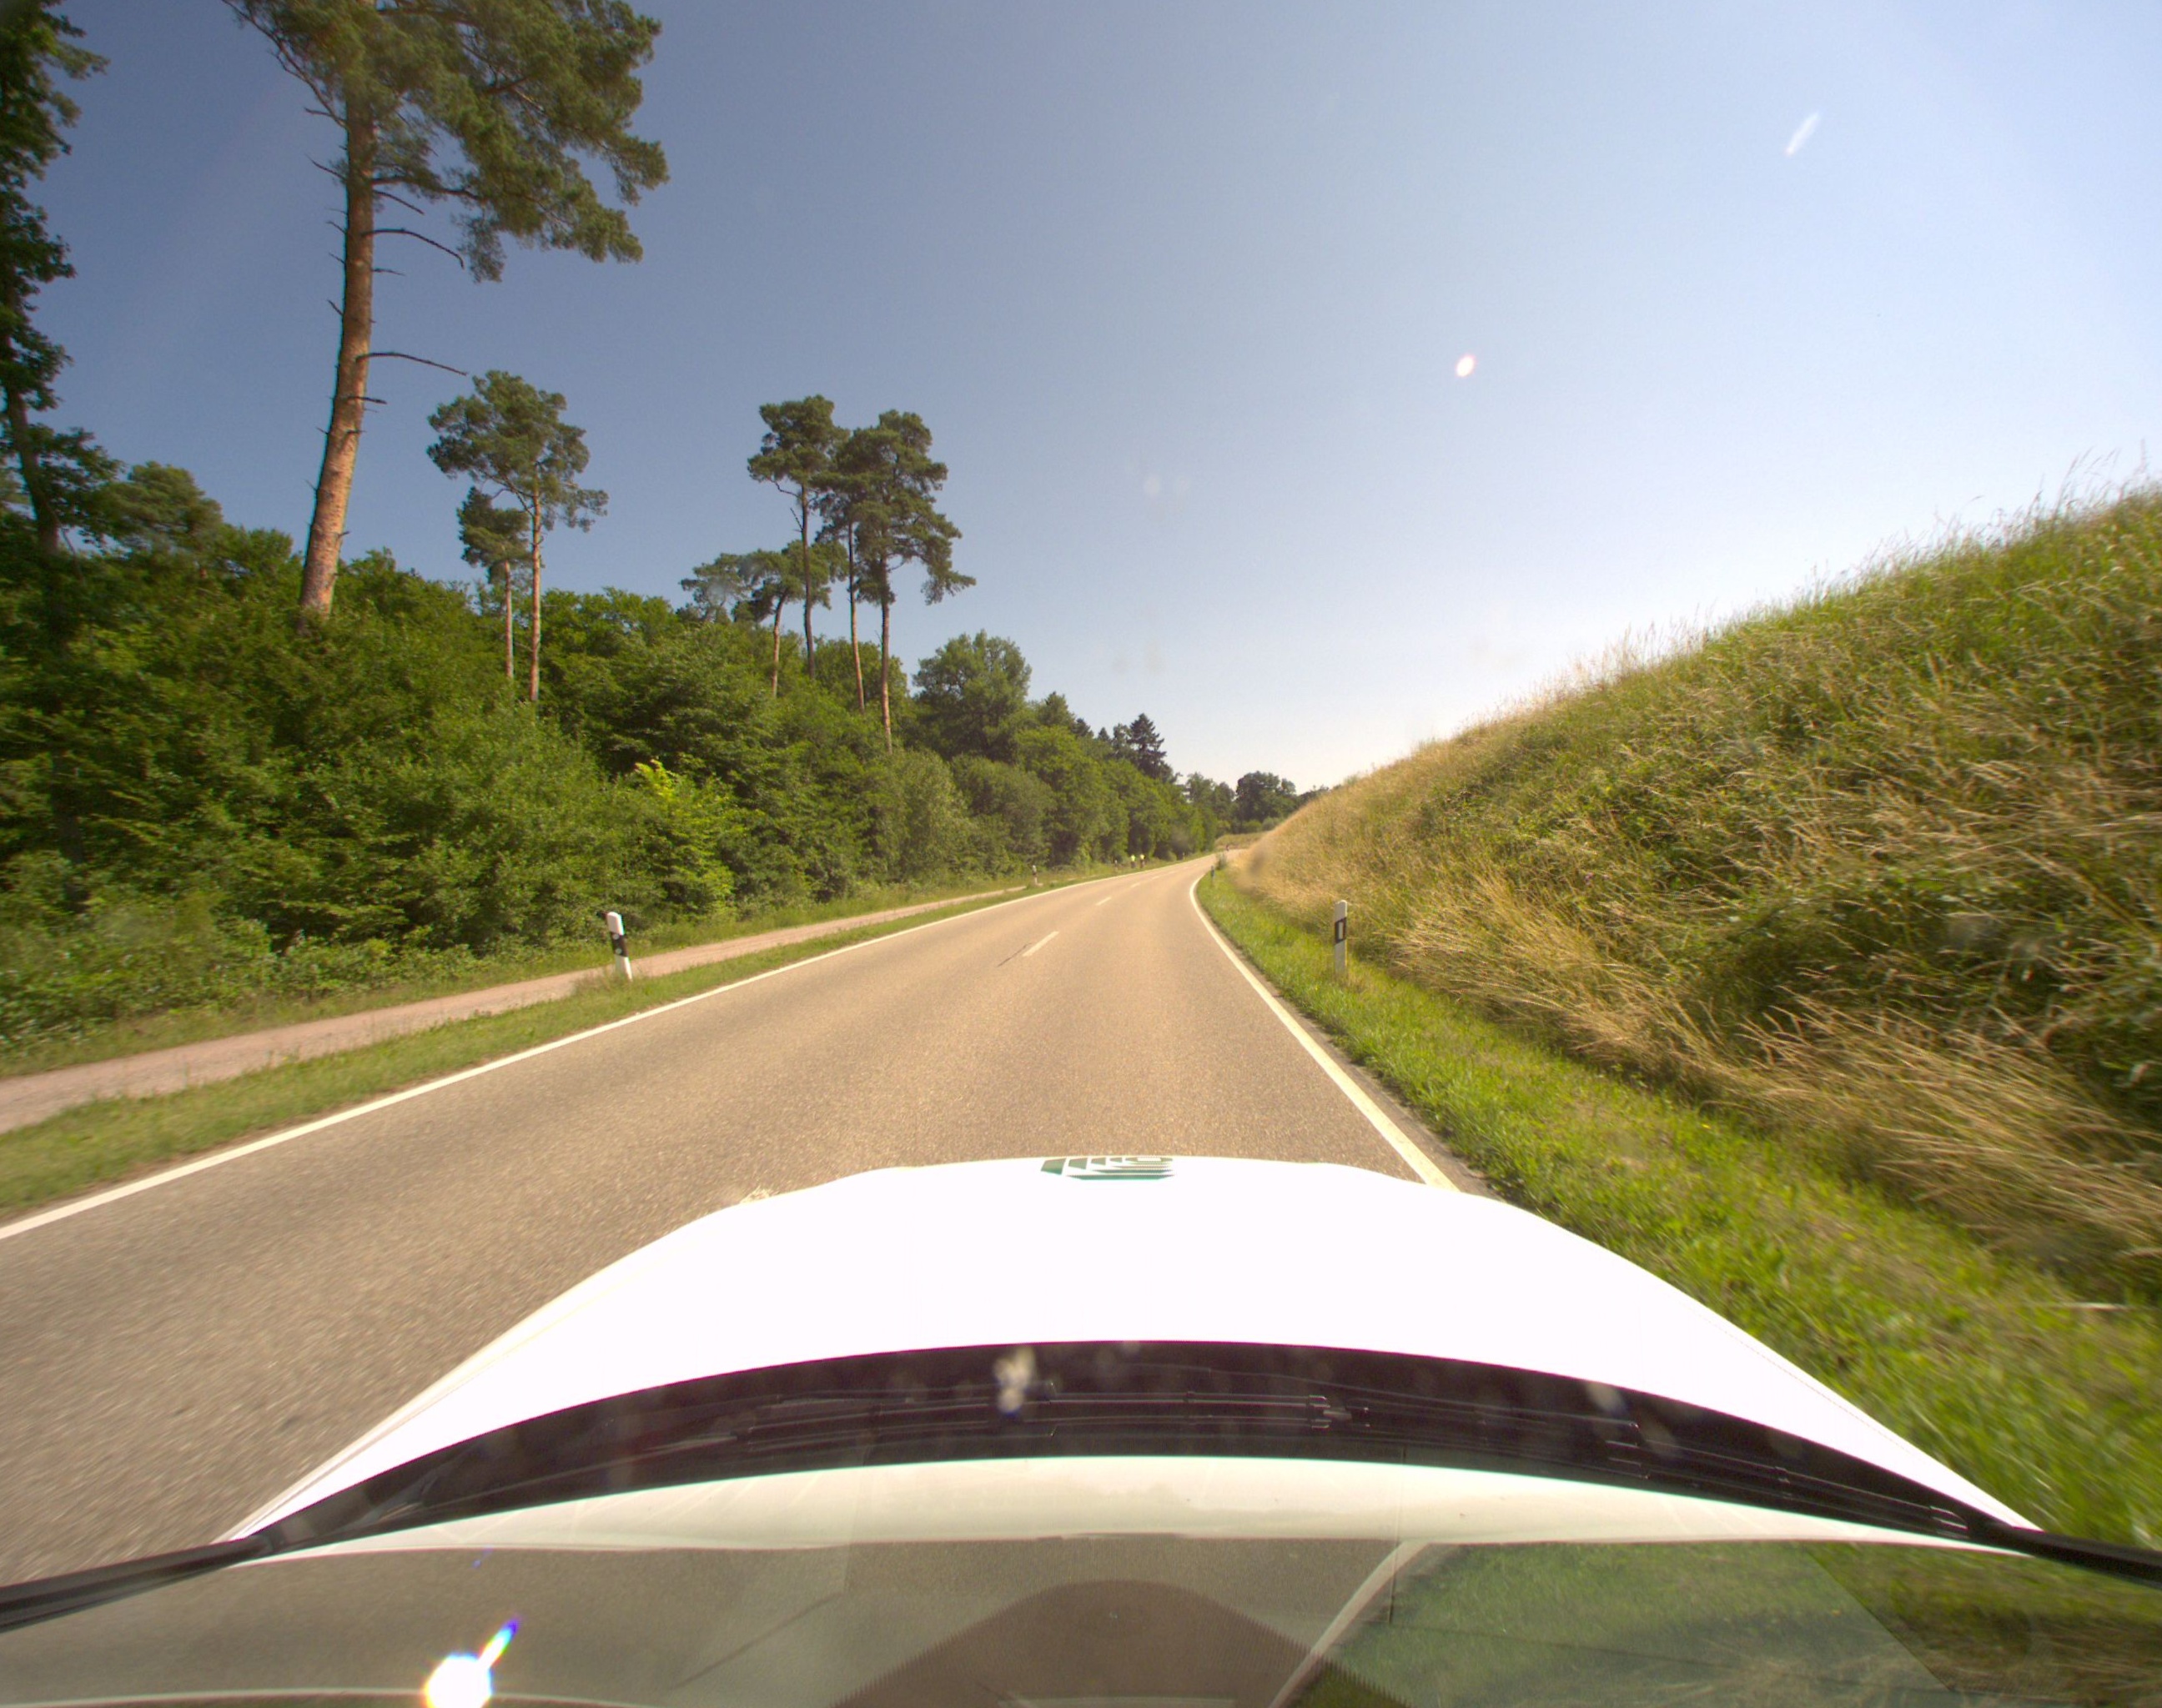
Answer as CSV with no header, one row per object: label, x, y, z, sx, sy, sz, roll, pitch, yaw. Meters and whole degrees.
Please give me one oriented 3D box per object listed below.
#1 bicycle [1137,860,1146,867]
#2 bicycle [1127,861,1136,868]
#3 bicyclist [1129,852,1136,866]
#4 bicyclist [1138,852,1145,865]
bicycle,6.643,1.036,89.232,0.635,0.788,2.144,-3,0,13
bicycle,5.575,1.147,89.340,0.615,0.681,2.144,-3,0,13
bicyclist,5.619,0.552,89.519,0.601,1.415,0.705,-3,-1,12
bicyclist,6.592,0.458,89.296,0.601,1.415,0.705,-3,-1,12
